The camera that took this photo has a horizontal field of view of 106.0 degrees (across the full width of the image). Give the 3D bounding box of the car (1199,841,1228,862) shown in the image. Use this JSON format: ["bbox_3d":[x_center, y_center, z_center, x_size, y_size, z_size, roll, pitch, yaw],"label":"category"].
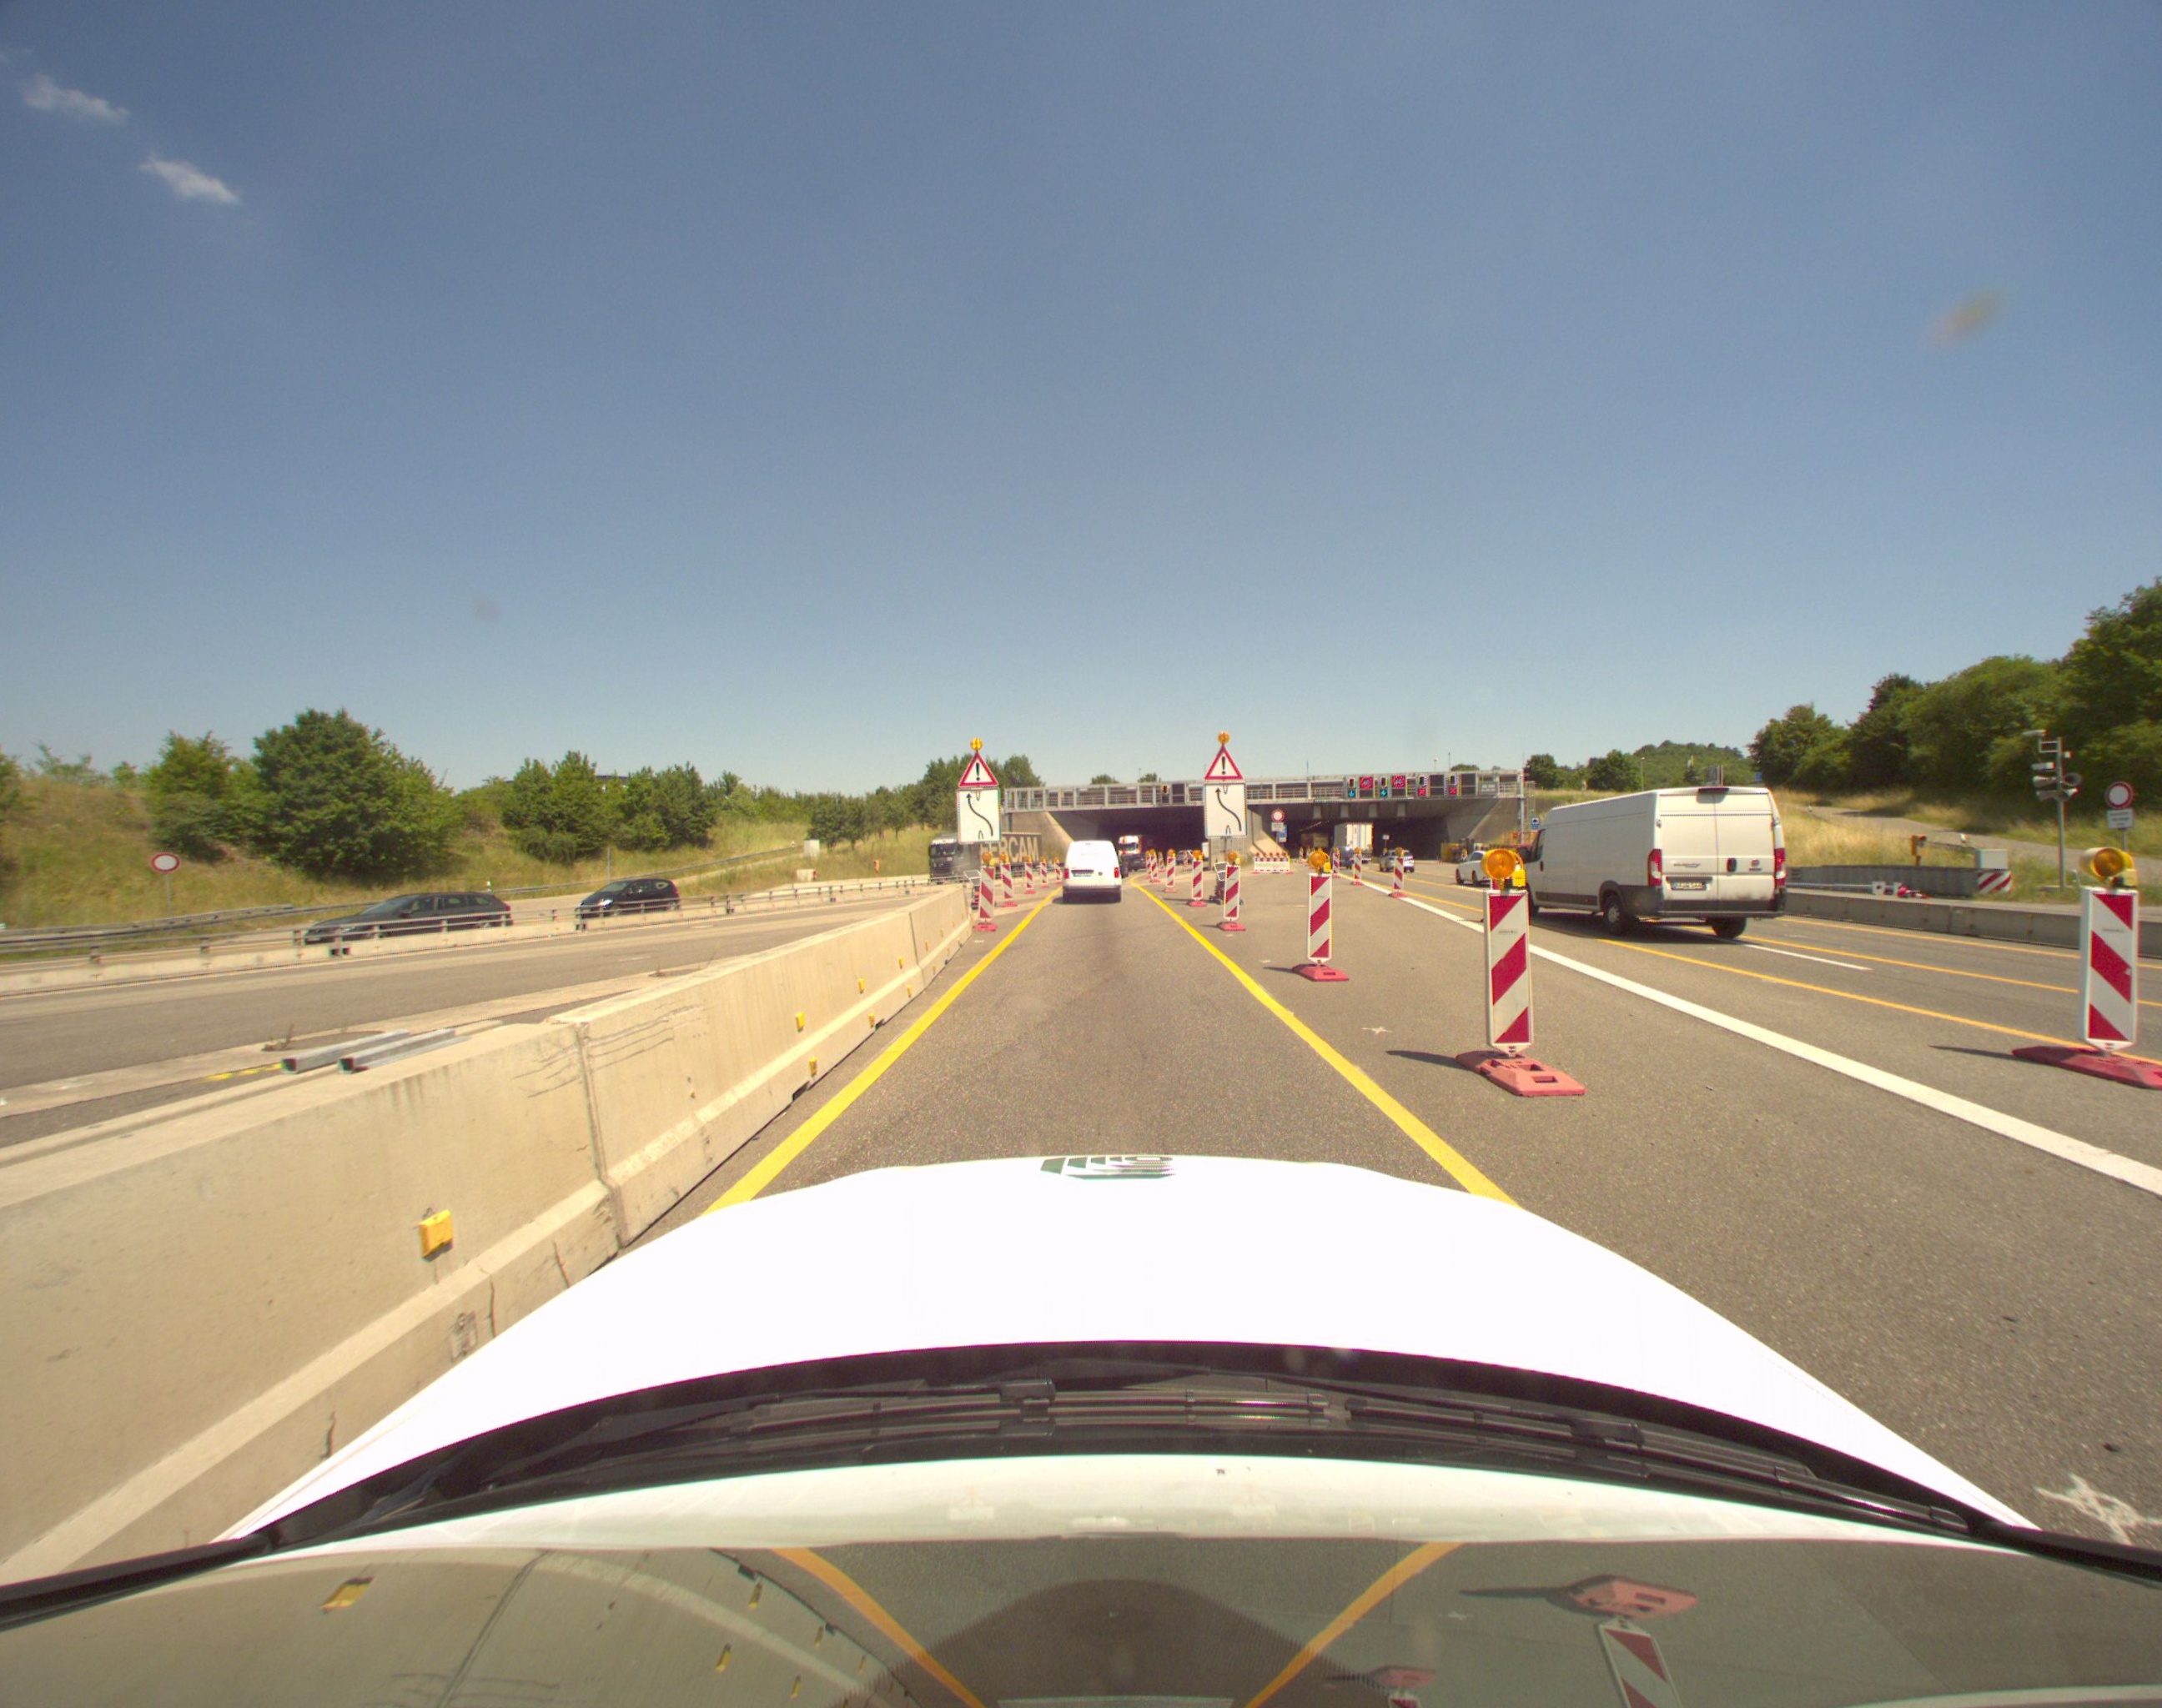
[{"bbox_3d":[17.783,-0.297,108.900,2.791,2.773,7.134,0,-1,18],"label":"car"}]

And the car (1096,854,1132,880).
[{"bbox_3d":[2.118,0.786,50.794,1.798,1.537,4.419,-2,0,8],"label":"car"}]

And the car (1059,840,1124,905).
[{"bbox_3d":[0.369,0.524,25.096,1.801,1.794,3.733,-2,0,2],"label":"car"}]

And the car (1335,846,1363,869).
[{"bbox_3d":[19.759,0.267,60.143,1.801,1.642,4.672,0,0,16],"label":"car"}]

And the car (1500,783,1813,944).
[{"bbox_3d":[10.807,0.167,16.219,2.253,2.536,6.598,0,0,7],"label":"car"}]

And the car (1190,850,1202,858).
[{"bbox_3d":[22.783,-0.017,161.228,1.675,1.394,4.016,-4,-1,15],"label":"car"}]

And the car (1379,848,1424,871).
[{"bbox_3d":[21.197,0.340,54.037,1.804,1.464,4.664,0,0,9],"label":"car"}]

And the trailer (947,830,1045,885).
[{"bbox_3d":[-6.969,0.253,70.274,2.415,4.296,13.878,-2,0,20],"label":"trailer"}]

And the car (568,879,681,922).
[{"bbox_3d":[-18.241,1.824,32.718,1.701,1.491,3.706,-2,0,20],"label":"car"}]

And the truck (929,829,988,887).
[{"bbox_3d":[-9.470,0.291,63.412,2.411,4.270,4.863,-2,0,20],"label":"truck"}]

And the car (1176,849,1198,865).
[{"bbox_3d":[12.005,0.307,92.055,1.795,1.751,4.427,-2,0,15],"label":"car"}]

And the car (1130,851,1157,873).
[{"bbox_3d":[5.464,0.686,70.881,1.797,1.815,4.423,-2,0,11],"label":"car"}]

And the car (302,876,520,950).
[{"bbox_3d":[-18.653,1.567,22.951,1.683,1.730,4.474,-2,0,21],"label":"car"}]

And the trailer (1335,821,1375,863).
[{"bbox_3d":[28.676,-1.091,85.703,2.713,4.062,14.145,0,0,13],"label":"trailer"}]

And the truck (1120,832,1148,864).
[{"bbox_3d":[7.107,-0.780,109.198,2.314,4.108,5.043,-2,-1,20],"label":"truck"}]

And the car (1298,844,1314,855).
[{"bbox_3d":[34.285,-0.638,124.222,1.805,1.630,4.200,0,0,8],"label":"car"}]

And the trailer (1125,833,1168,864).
[{"bbox_3d":[9.399,-0.808,115.325,2.318,4.102,13.329,-2,-1,21],"label":"trailer"}]

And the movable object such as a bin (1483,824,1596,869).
[{"bbox_3d":[35.221,-0.499,63.457,3.091,3.011,14.746,-2,-1,11],"label":"movable object such as a bin"}]

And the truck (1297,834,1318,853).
[{"bbox_3d":[52.288,-2.275,188.223,3.380,4.071,16.587,0,0,11],"label":"truck"}]

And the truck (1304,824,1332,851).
[{"bbox_3d":[43.289,-2.805,149.166,3.380,4.335,16.586,1,-1,11],"label":"truck"}]

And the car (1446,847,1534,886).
[{"bbox_3d":[16.802,0.530,33.689,1.805,1.465,4.661,1,-1,7],"label":"car"}]
